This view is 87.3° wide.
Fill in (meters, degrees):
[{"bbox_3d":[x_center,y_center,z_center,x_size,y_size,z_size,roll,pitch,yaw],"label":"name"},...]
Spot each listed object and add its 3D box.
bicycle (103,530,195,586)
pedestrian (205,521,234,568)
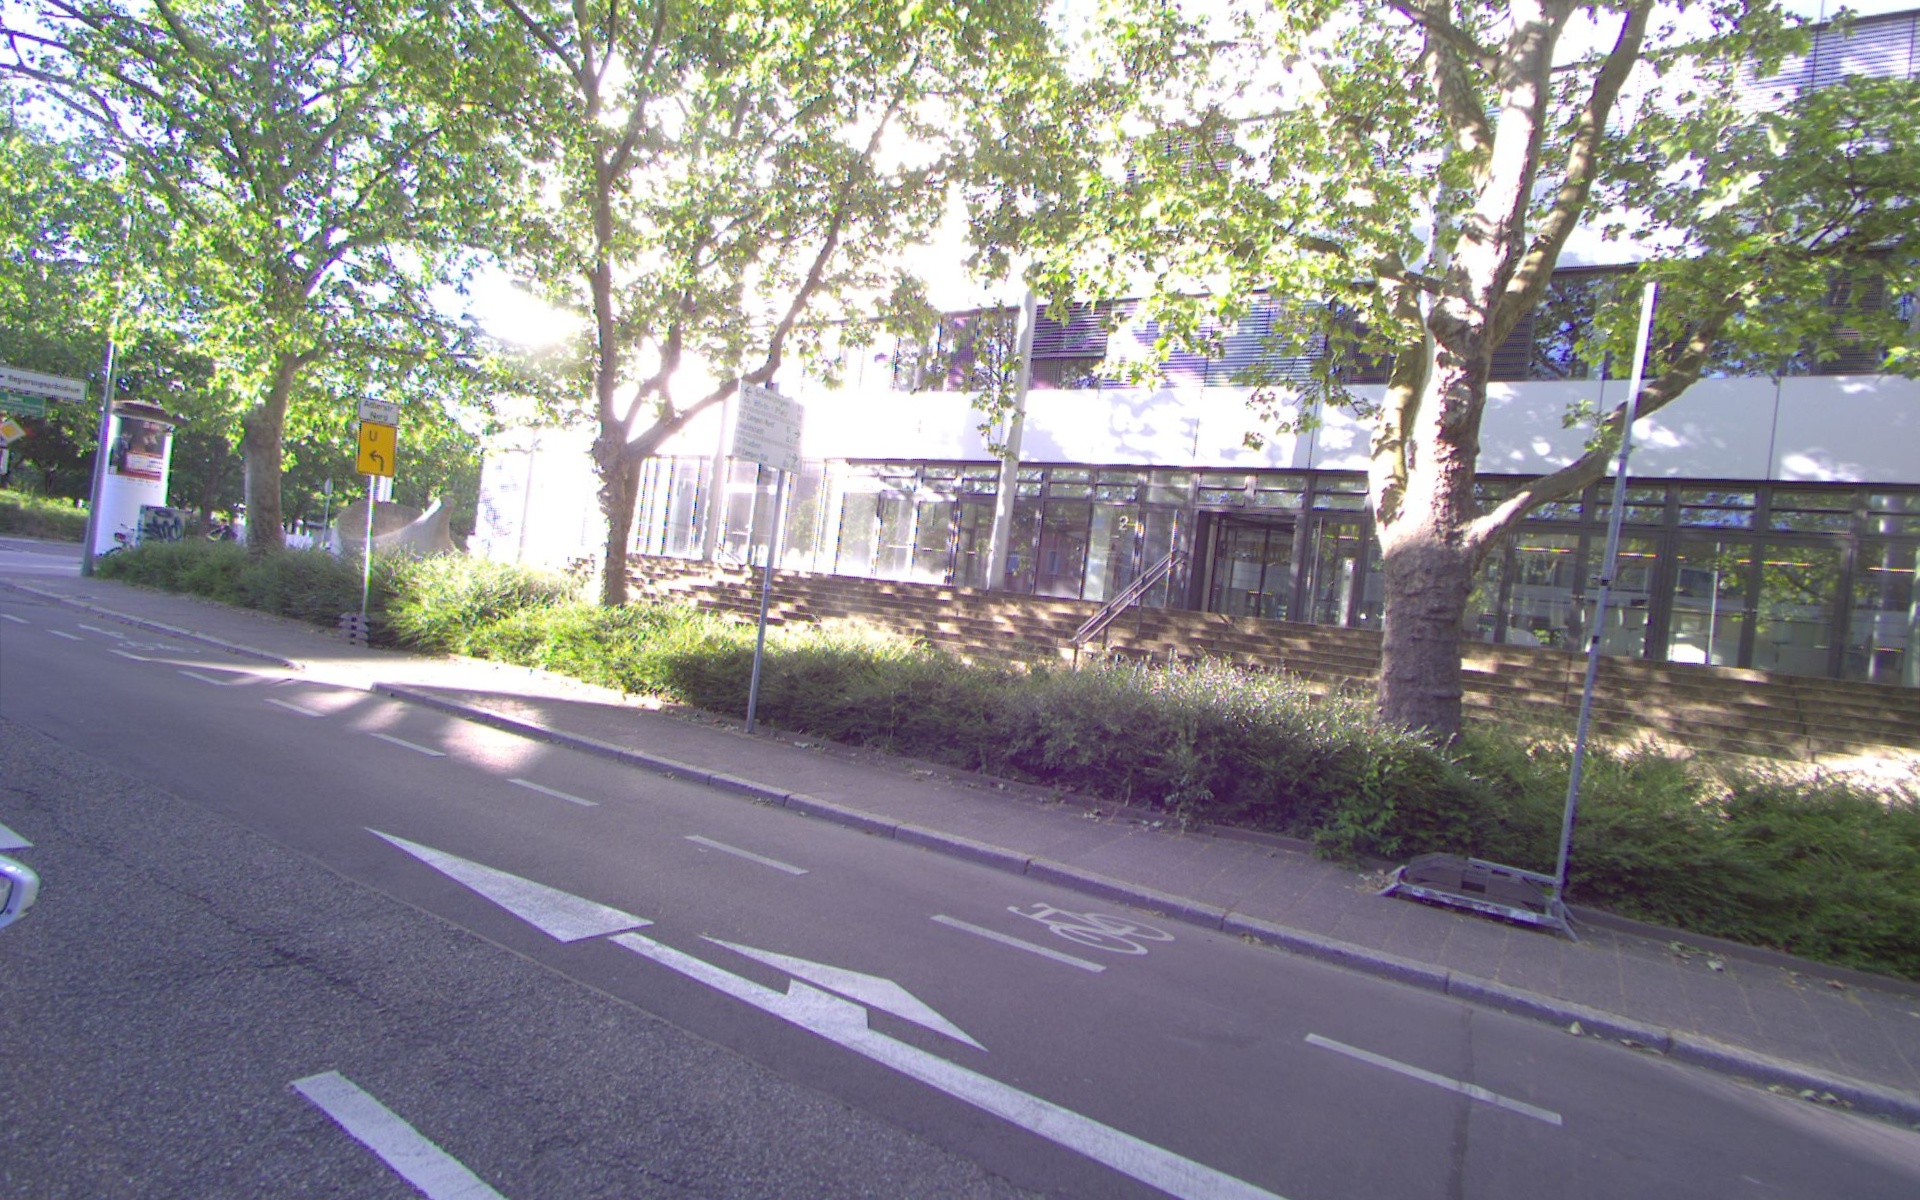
[{"bbox_3d":[-18.069,-0.917,22.429,0.529,1.049,1.418,7,-1,28],"label":"bicycle"},{"bbox_3d":[-30.423,-2.285,41.315,0.620,1.805,0.620,7,0,34],"label":"pedestrian"}]
